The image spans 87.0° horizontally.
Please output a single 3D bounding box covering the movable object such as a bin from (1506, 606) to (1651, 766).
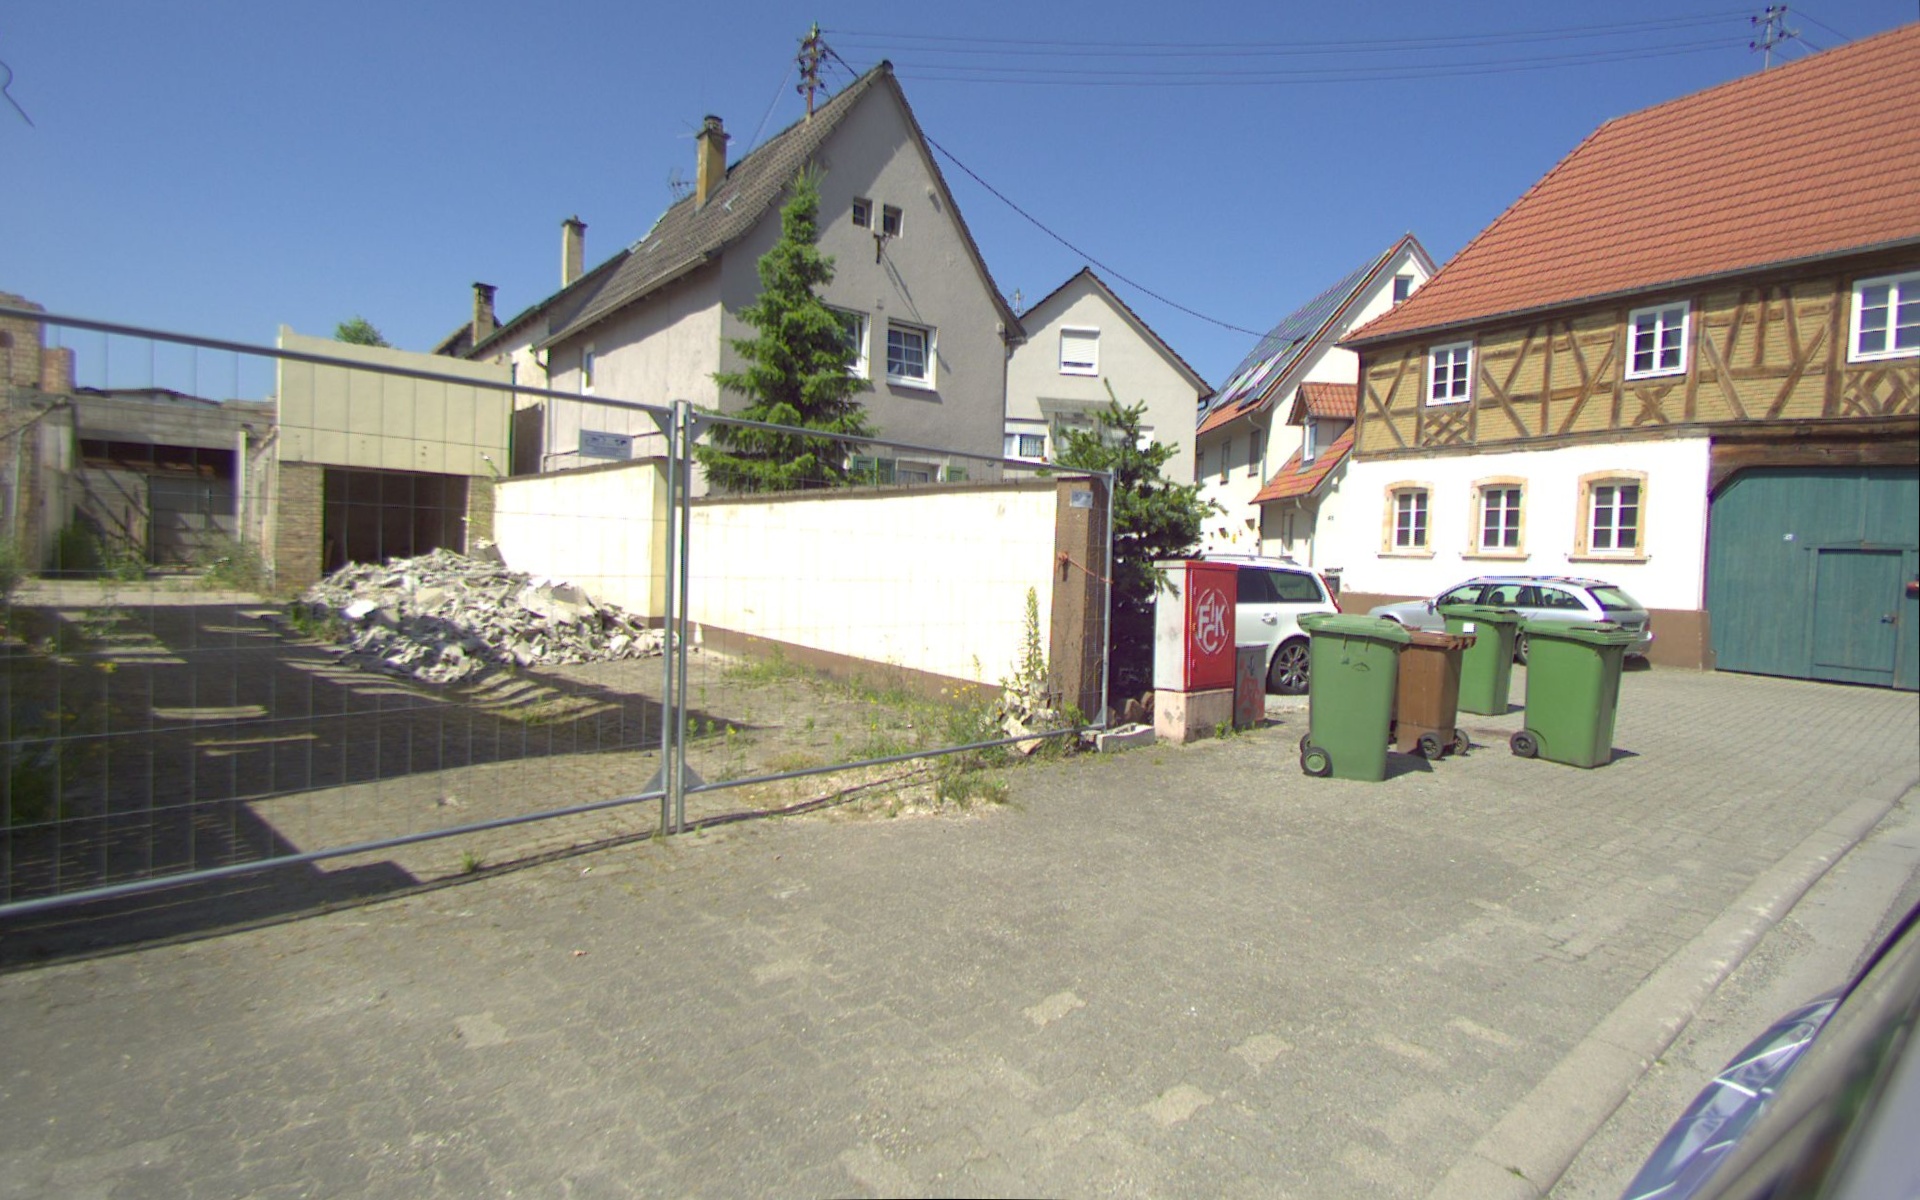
[{"bbox_3d":[4.734,0.629,7.763,0.625,1.105,0.689,1,3,-34],"label":"movable object such as a bin"}]

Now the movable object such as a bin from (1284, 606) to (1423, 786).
[{"bbox_3d":[2.657,0.619,6.917,0.751,1.085,0.669,4,3,15],"label":"movable object such as a bin"}]

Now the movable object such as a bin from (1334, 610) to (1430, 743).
[{"bbox_3d":[3.372,0.594,8.091,0.487,0.982,0.467,1,3,-35],"label":"movable object such as a bin"}]

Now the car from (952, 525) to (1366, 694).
[{"bbox_3d":[2.230,0.088,11.212,4.208,1.546,1.820,2,3,-27],"label":"car"}]

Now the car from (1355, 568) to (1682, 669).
[{"bbox_3d":[9.800,0.233,18.213,1.960,1.470,4.773,1,2,-31],"label":"car"}]

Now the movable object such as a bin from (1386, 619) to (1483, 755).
[{"bbox_3d":[3.620,0.644,7.725,0.453,0.961,0.446,1,3,-34],"label":"movable object such as a bin"}]

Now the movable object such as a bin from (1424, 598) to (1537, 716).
[{"bbox_3d":[5.295,0.553,10.307,0.741,1.094,0.722,1,3,-38],"label":"movable object such as a bin"}]
